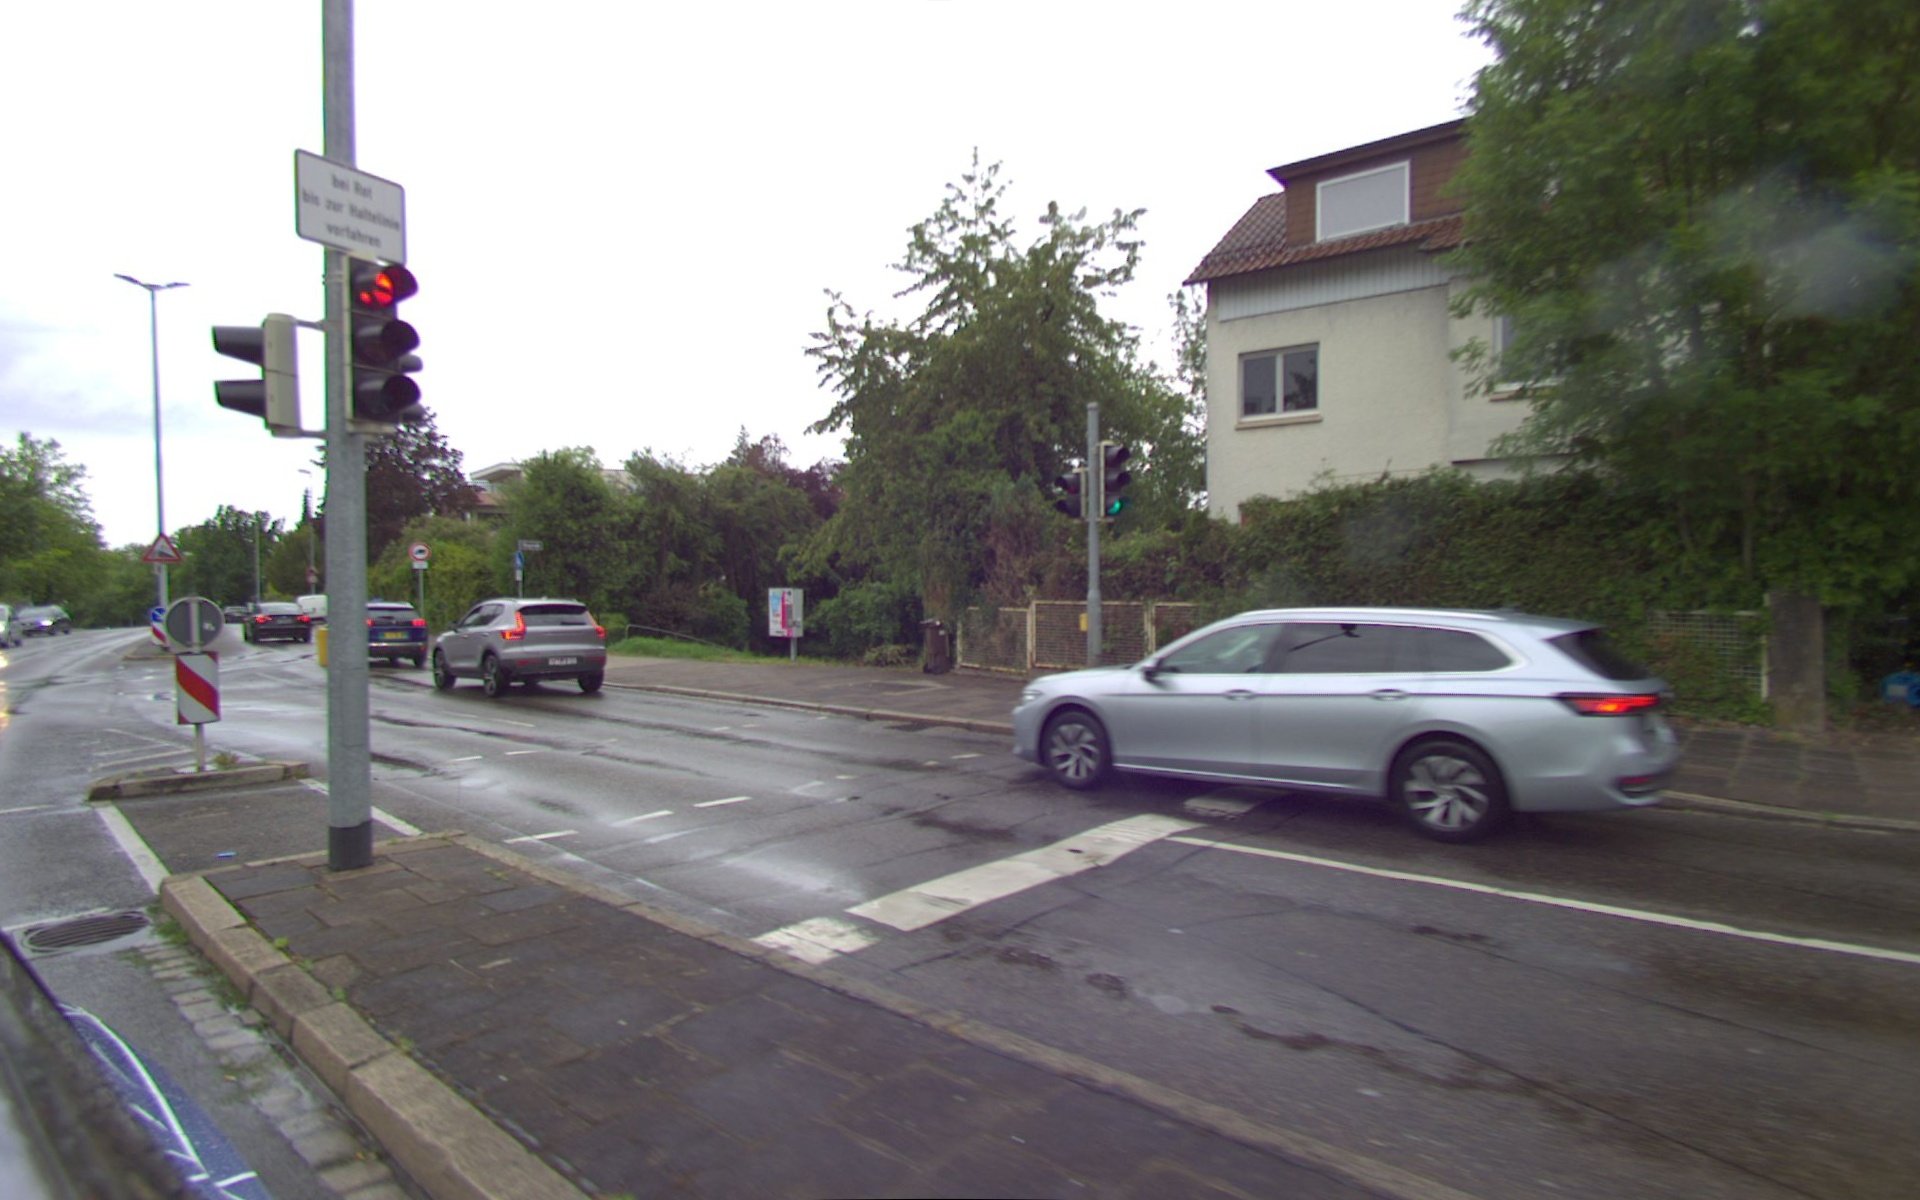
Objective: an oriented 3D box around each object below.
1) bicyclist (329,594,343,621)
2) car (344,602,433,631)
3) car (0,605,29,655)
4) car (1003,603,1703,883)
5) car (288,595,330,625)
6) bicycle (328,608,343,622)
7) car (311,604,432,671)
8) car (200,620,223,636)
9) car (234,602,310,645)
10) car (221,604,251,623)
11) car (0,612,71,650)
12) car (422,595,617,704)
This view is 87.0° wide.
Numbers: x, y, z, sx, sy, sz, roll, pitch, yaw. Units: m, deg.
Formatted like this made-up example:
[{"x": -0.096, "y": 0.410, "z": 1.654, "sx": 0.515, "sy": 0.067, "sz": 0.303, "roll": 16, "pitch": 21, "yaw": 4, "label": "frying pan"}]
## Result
[{"x": -39.164, "y": 0.449, "z": 63.500, "sx": 0.731, "sy": 1.659, "sz": 0.780, "roll": -1, "pitch": 0, "yaw": -30, "label": "bicyclist"}, {"x": -30.114, "y": 0.838, "z": 53.374, "sx": 3.830, "sy": 1.467, "sz": 1.771, "roll": 0, "pitch": 1, "yaw": -40, "label": "car"}, {"x": -34.803, "y": 1.061, "z": 36.104, "sx": 1.968, "sy": 1.669, "sz": 4.008, "roll": 0, "pitch": 1, "yaw": -38, "label": "car"}, {"x": 2.666, "y": 0.785, "z": 7.676, "sx": 4.686, "sy": 1.461, "sz": 1.658, "roll": 1, "pitch": 1, "yaw": 41, "label": "car"}, {"x": -38.875, "y": 0.562, "z": 60.383, "sx": 1.793, "sy": 1.730, "sz": 4.008, "roll": 0, "pitch": 1, "yaw": -38, "label": "car"}, {"x": -39.172, "y": 0.942, "z": 63.519, "sx": 0.731, "sy": 0.857, "sz": 1.978, "roll": -1, "pitch": 0, "yaw": -30, "label": "bicycle"}, {"x": -15.323, "y": 0.905, "z": 26.235, "sx": 1.842, "sy": 1.565, "sz": 4.452, "roll": 2, "pitch": -1, "yaw": -42, "label": "car"}, {"x": -76.223, "y": 2.860, "z": 103.044, "sx": 1.793, "sy": 1.467, "sz": 4.008, "roll": 0, "pitch": 1, "yaw": -38, "label": "car"}, {"x": -25.548, "y": 0.846, "z": 37.514, "sx": 1.841, "sy": 1.487, "sz": 4.453, "roll": 2, "pitch": -1, "yaw": -40, "label": "car"}, {"x": -58.147, "y": 1.067, "z": 81.236, "sx": 1.793, "sy": 1.467, "sz": 4.008, "roll": 0, "pitch": 1, "yaw": -38, "label": "car"}, {"x": -45.233, "y": 1.456, "z": 49.384, "sx": 1.966, "sy": 1.669, "sz": 4.239, "roll": 0, "pitch": 1, "yaw": -30, "label": "car"}, {"x": -7.952, "y": 0.773, "z": 18.070, "sx": 1.861, "sy": 1.690, "sz": 4.235, "roll": 0, "pitch": 1, "yaw": -44, "label": "car"}]
